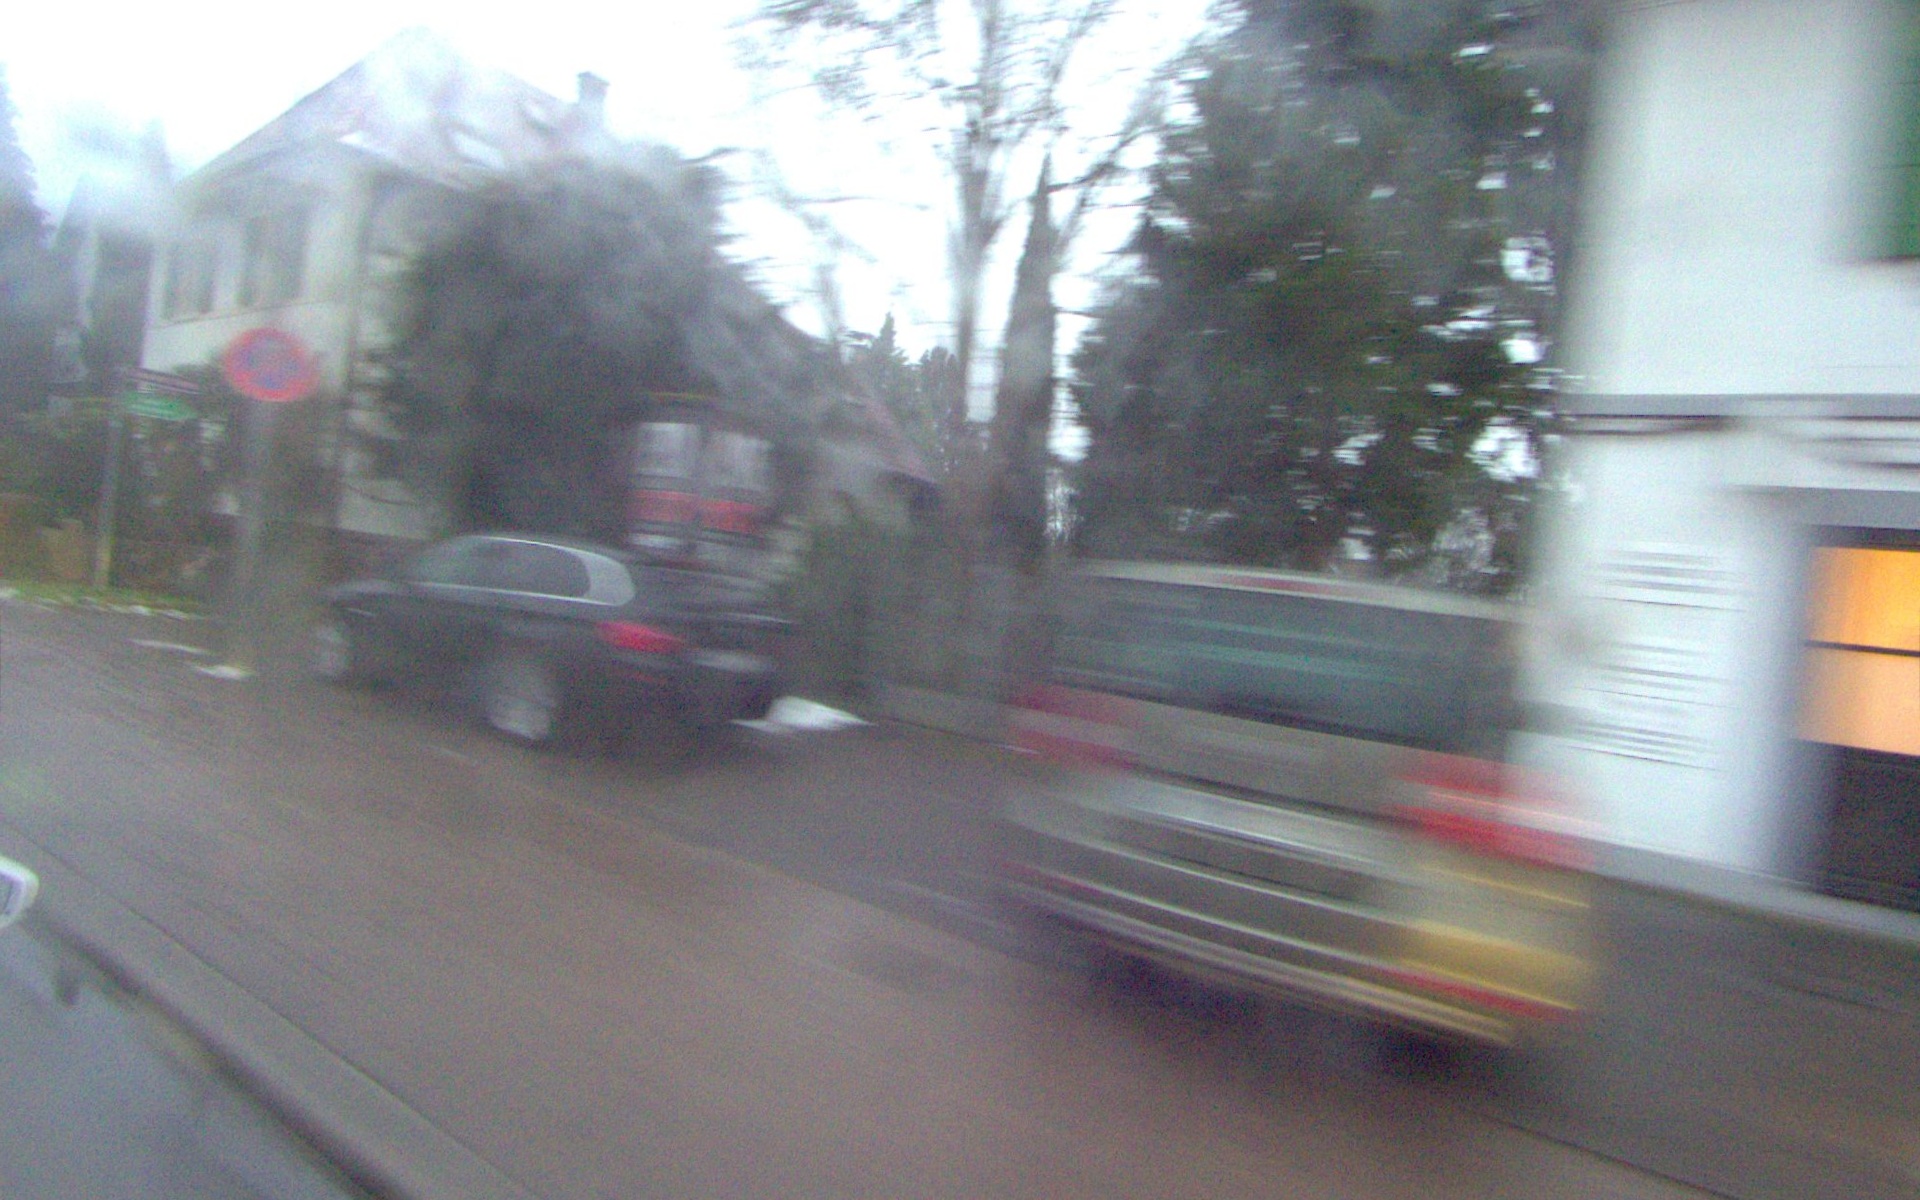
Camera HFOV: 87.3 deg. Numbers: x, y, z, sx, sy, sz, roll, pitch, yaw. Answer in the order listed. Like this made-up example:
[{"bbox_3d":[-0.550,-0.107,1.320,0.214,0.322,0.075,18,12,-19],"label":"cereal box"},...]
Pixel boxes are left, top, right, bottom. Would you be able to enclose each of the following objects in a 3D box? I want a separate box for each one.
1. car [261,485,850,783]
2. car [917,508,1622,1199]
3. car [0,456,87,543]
[{"bbox_3d":[-3.370,0.127,8.036,4.677,1.574,1.895,7,0,33],"label":"car"},{"bbox_3d":[1.803,0.673,4.823,1.967,1.729,4.102,6,2,31],"label":"car"},{"bbox_3d":[-22.013,-2.357,21.749,1.967,1.755,4.322,7,2,32],"label":"car"}]
